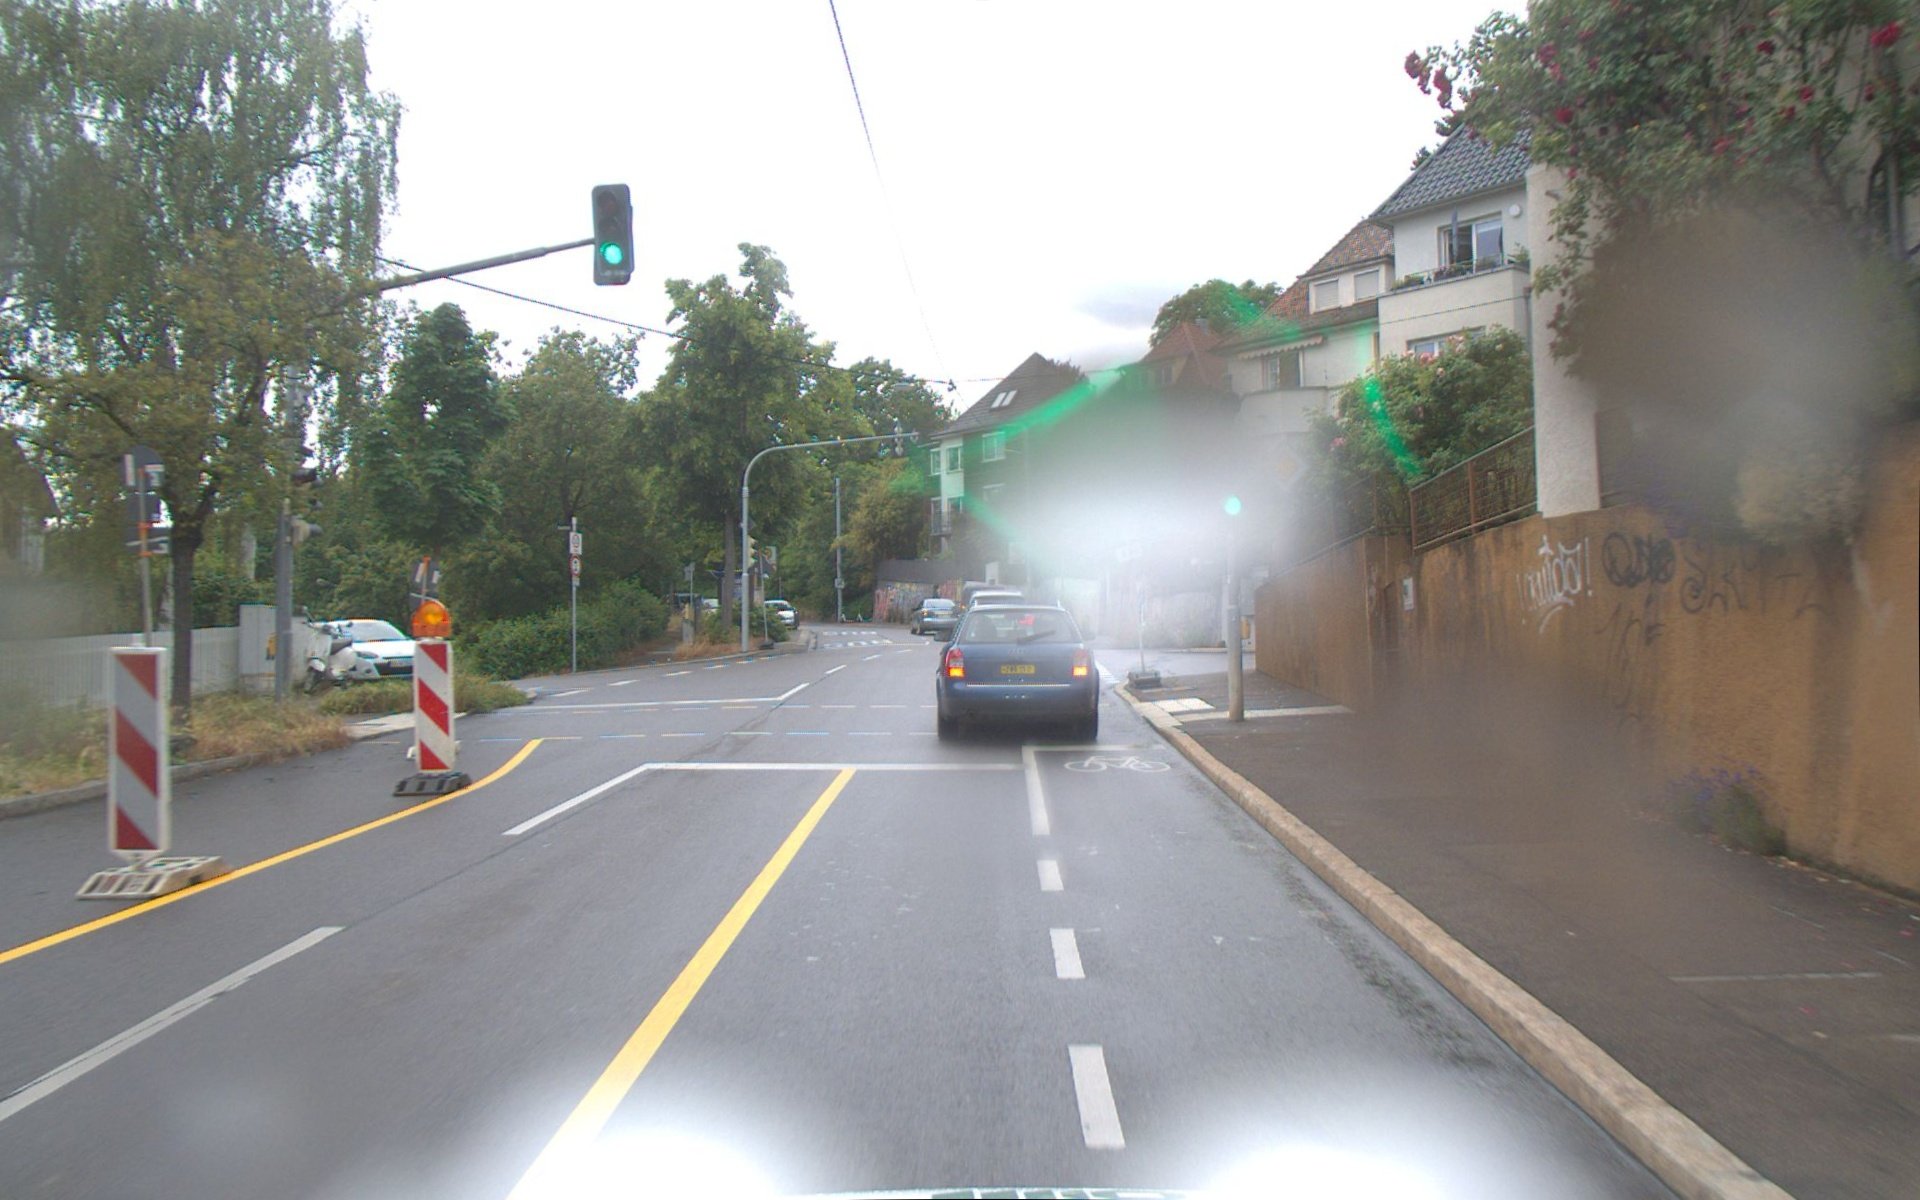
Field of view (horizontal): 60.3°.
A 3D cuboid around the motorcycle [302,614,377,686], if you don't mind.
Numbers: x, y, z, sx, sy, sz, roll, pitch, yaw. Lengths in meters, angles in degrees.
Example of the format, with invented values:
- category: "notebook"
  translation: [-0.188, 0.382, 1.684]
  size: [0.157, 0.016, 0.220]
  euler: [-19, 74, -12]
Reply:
- category: "motorcycle"
  translation: [-10.480, 0.825, 28.009]
  size: [0.579, 1.150, 1.843]
  euler: [-2, 0, -1]

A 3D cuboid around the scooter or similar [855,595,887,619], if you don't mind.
- category: "scooter or similar"
  translation: [-5.533, 0.418, 102.772]
  size: [1.801, 1.338, 0.598]
  euler: [4, -4, -11]

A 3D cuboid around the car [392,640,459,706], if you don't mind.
- category: "car"
  translation: [-17.982, 2.423, 55.580]
  size: [1.725, 2.049, 3.969]
  euler: [0, -1, -24]

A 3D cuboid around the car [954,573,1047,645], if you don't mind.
- category: "car"
  translation: [0.875, 0.227, 36.227]
  size: [1.869, 1.413, 4.350]
  euler: [2, -1, 1]

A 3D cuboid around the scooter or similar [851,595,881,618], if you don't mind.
- category: "scooter or similar"
  translation: [-5.900, 0.418, 103.879]
  size: [1.801, 1.338, 0.598]
  euler: [4, -4, -11]

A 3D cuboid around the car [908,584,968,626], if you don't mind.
- category: "car"
  translation: [-0.913, 0.194, 66.655]
  size: [1.734, 1.597, 4.020]
  euler: [-2, 0, -11]

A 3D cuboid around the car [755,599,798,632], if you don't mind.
- category: "car"
  translation: [-8.629, 0.714, 77.649]
  size: [1.644, 1.451, 3.989]
  euler: [-2, 0, -11]

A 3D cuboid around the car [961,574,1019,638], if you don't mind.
- category: "car"
  translation: [0.943, 0.175, 53.161]
  size: [1.695, 1.927, 4.055]
  euler: [-2, 0, -1]

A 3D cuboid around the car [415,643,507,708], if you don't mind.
- category: "car"
  translation: [-15.433, 2.296, 51.030]
  size: [1.822, 1.780, 3.958]
  euler: [0, 0, -31]

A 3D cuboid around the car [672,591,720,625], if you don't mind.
- category: "car"
  translation: [-15.218, 0.464, 95.211]
  size: [1.812, 1.875, 3.874]
  euler: [-2, 0, -23]

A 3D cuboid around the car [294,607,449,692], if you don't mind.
- category: "car"
  translation: [-12.364, 1.060, 34.625]
  size: [1.675, 1.535, 3.951]
  euler: [-3, -1, -41]

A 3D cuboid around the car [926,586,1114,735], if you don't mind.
- category: "car"
  translation: [0.779, 0.605, 18.479]
  size: [1.739, 1.464, 4.003]
  euler: [-1, 0, 7]
